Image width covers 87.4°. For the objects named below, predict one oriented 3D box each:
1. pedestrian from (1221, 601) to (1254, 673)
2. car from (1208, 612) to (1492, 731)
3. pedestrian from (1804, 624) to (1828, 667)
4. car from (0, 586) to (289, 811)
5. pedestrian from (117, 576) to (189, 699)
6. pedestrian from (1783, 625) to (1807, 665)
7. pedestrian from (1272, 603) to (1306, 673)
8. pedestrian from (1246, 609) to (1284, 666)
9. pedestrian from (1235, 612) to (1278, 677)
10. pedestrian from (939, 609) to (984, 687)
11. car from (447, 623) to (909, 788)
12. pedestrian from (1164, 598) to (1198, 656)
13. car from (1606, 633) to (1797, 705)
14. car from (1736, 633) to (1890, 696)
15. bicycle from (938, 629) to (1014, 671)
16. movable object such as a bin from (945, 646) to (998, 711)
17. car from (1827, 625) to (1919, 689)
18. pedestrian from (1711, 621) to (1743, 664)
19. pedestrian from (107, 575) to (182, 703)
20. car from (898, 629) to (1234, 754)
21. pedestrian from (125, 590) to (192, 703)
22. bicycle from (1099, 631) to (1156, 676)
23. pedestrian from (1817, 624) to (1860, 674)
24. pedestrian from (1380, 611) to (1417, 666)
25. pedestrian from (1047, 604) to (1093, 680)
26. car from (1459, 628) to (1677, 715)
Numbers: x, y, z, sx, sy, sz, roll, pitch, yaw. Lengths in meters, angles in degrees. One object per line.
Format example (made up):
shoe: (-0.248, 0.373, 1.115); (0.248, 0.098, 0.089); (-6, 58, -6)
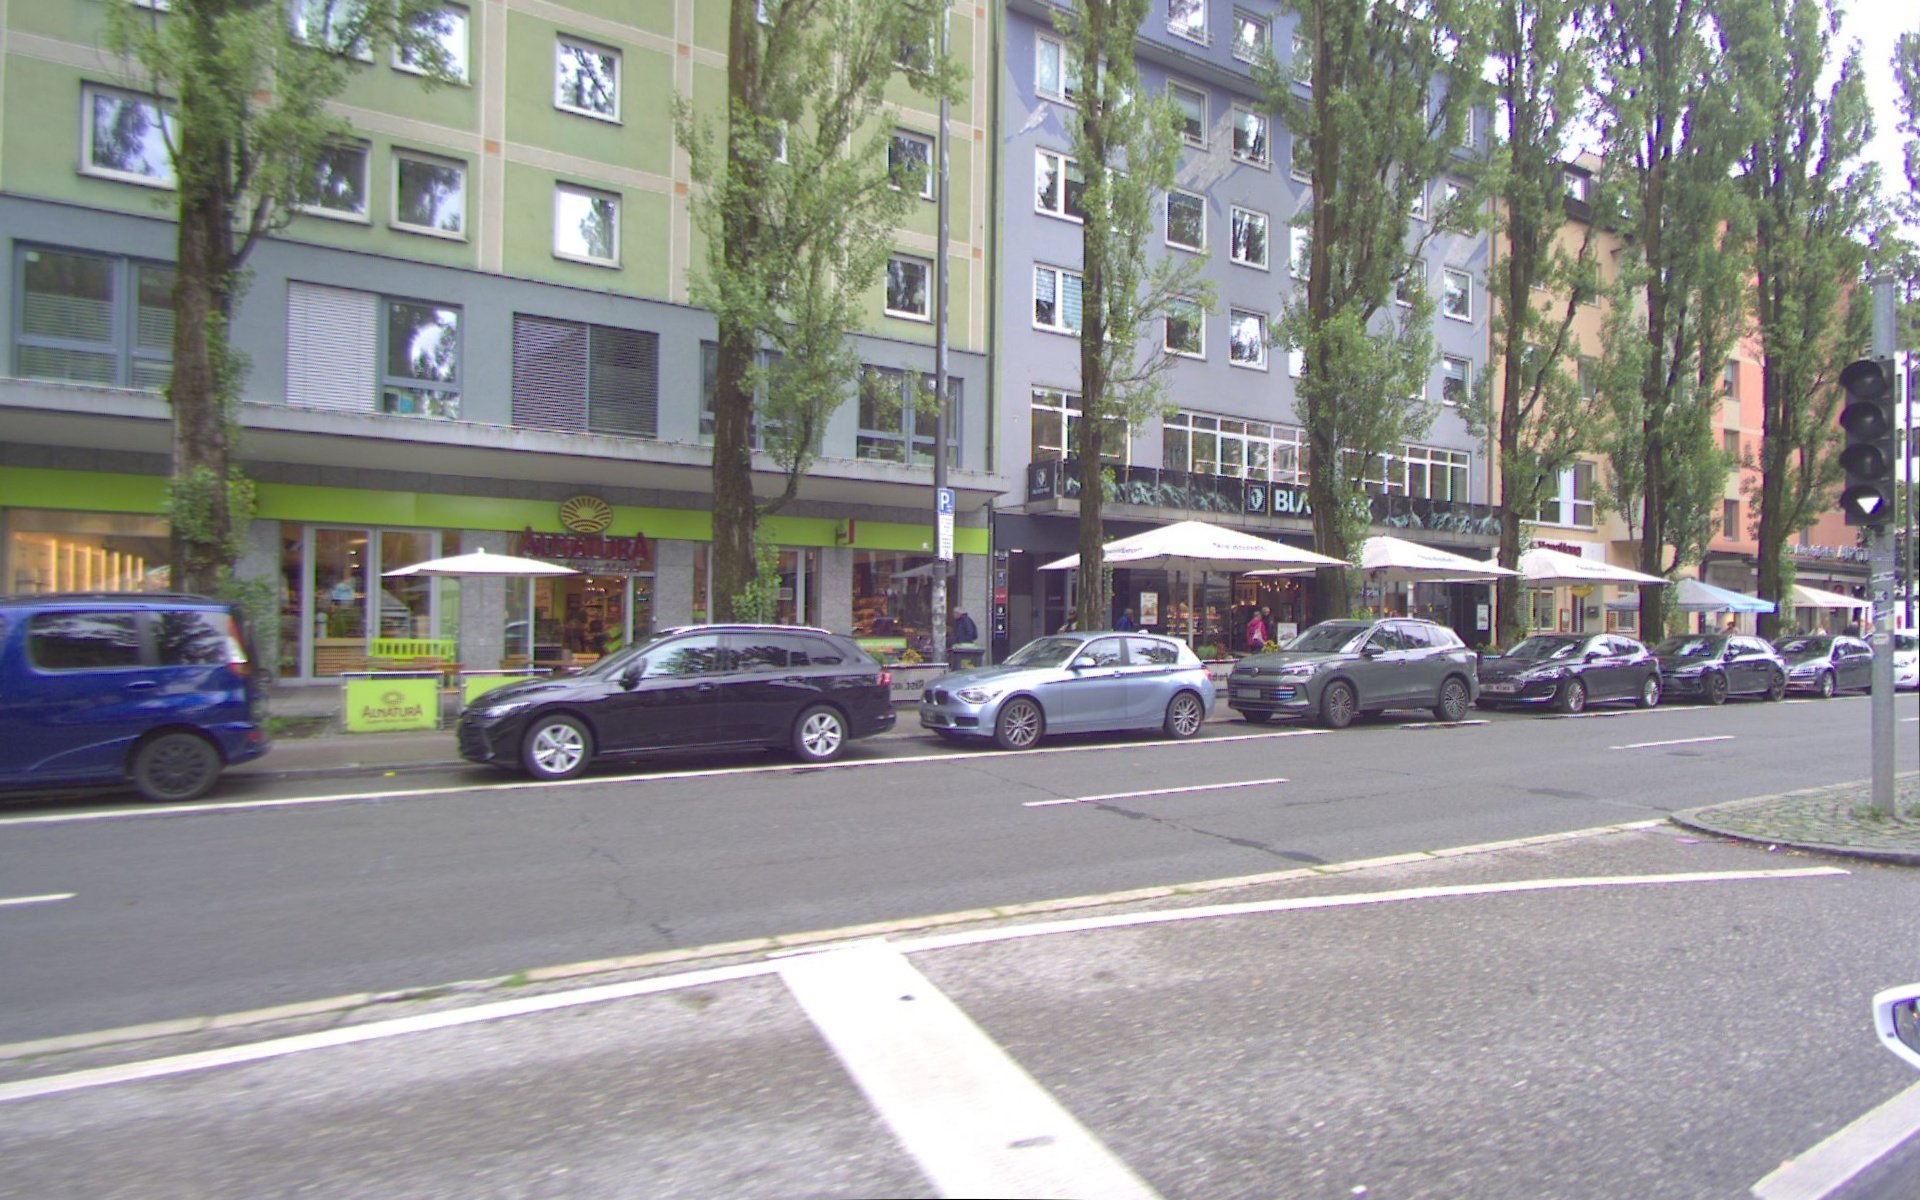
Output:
pedestrian: (8.869, 1.174, 32.094); (0.684, 2.241, 0.777); (1, -1, -30)
car: (6.330, 1.106, 16.201); (4.529, 1.702, 1.773); (2, -3, -28)
pedestrian: (35.257, 1.868, 41.381); (0.684, 1.740, 0.552); (1, -1, -30)
car: (-7.848, 0.787, 8.284); (3.730, 1.708, 1.609); (2, -4, -32)
pedestrian: (-12.291, 0.557, 15.316); (0.707, 1.819, 0.744); (1, 0, -29)
pedestrian: (34.697, 1.867, 41.748); (0.684, 1.660, 0.552); (1, -1, -30)
pedestrian: (10.678, 1.228, 32.592); (0.723, 2.241, 0.777); (1, -1, -30)
pedestrian: (8.841, 1.078, 29.131); (0.734, 1.623, 0.750); (1, -1, -30)
pedestrian: (7.599, 1.133, 25.759); (0.746, 1.623, 0.738); (1, -1, -27)
pedestrian: (0.035, 1.062, 22.553); (0.746, 1.695, 0.706); (1, 0, -29)
car: (-2.950, 1.019, 10.842); (4.531, 1.465, 1.695); (2, -2, -30)
pedestrian: (7.080, 0.866, 32.220); (0.733, 1.828, 0.778); (1, -1, -27)
car: (16.054, 1.449, 21.718); (4.381, 1.431, 1.696); (2, -3, -30)
car: (20.569, 1.528, 24.186); (4.137, 1.399, 1.487); (2, -3, -30)
bicycle: (0.397, 1.184, 24.089); (1.827, 0.984, 0.477); (1, 0, -29)
movable object such as a bin: (0.202, 1.346, 17.391); (0.716, 1.061, 0.663); (0, -1, 22)
car: (25.161, 1.518, 26.888); (4.047, 1.604, 1.696); (2, -3, -30)
pedestrian: (30.470, 1.692, 39.895); (0.793, 1.690, 0.777); (1, -1, -30)
pedestrian: (-12.004, 0.564, 14.805); (0.707, 1.819, 0.744); (1, 0, -29)
car: (1.475, 1.134, 13.348); (4.350, 1.436, 1.650); (2, -3, -31)
pedestrian: (-12.961, 0.729, 16.269); (0.707, 1.778, 0.718); (1, 0, -29)
bicycle: (4.330, 1.357, 25.915); (1.568, 1.111, 0.611); (1, -1, -41)
pedestrian: (32.519, 1.802, 37.191); (0.975, 1.819, 0.736); (2, 0, -11)
pedestrian: (13.444, 1.182, 30.776); (0.746, 1.662, 0.738); (1, -1, -27)
pedestrian: (2.632, 0.984, 24.044); (0.746, 1.778, 0.815); (1, 0, -29)
car: (11.574, 1.313, 19.064); (4.318, 1.485, 1.670); (2, -3, -30)
